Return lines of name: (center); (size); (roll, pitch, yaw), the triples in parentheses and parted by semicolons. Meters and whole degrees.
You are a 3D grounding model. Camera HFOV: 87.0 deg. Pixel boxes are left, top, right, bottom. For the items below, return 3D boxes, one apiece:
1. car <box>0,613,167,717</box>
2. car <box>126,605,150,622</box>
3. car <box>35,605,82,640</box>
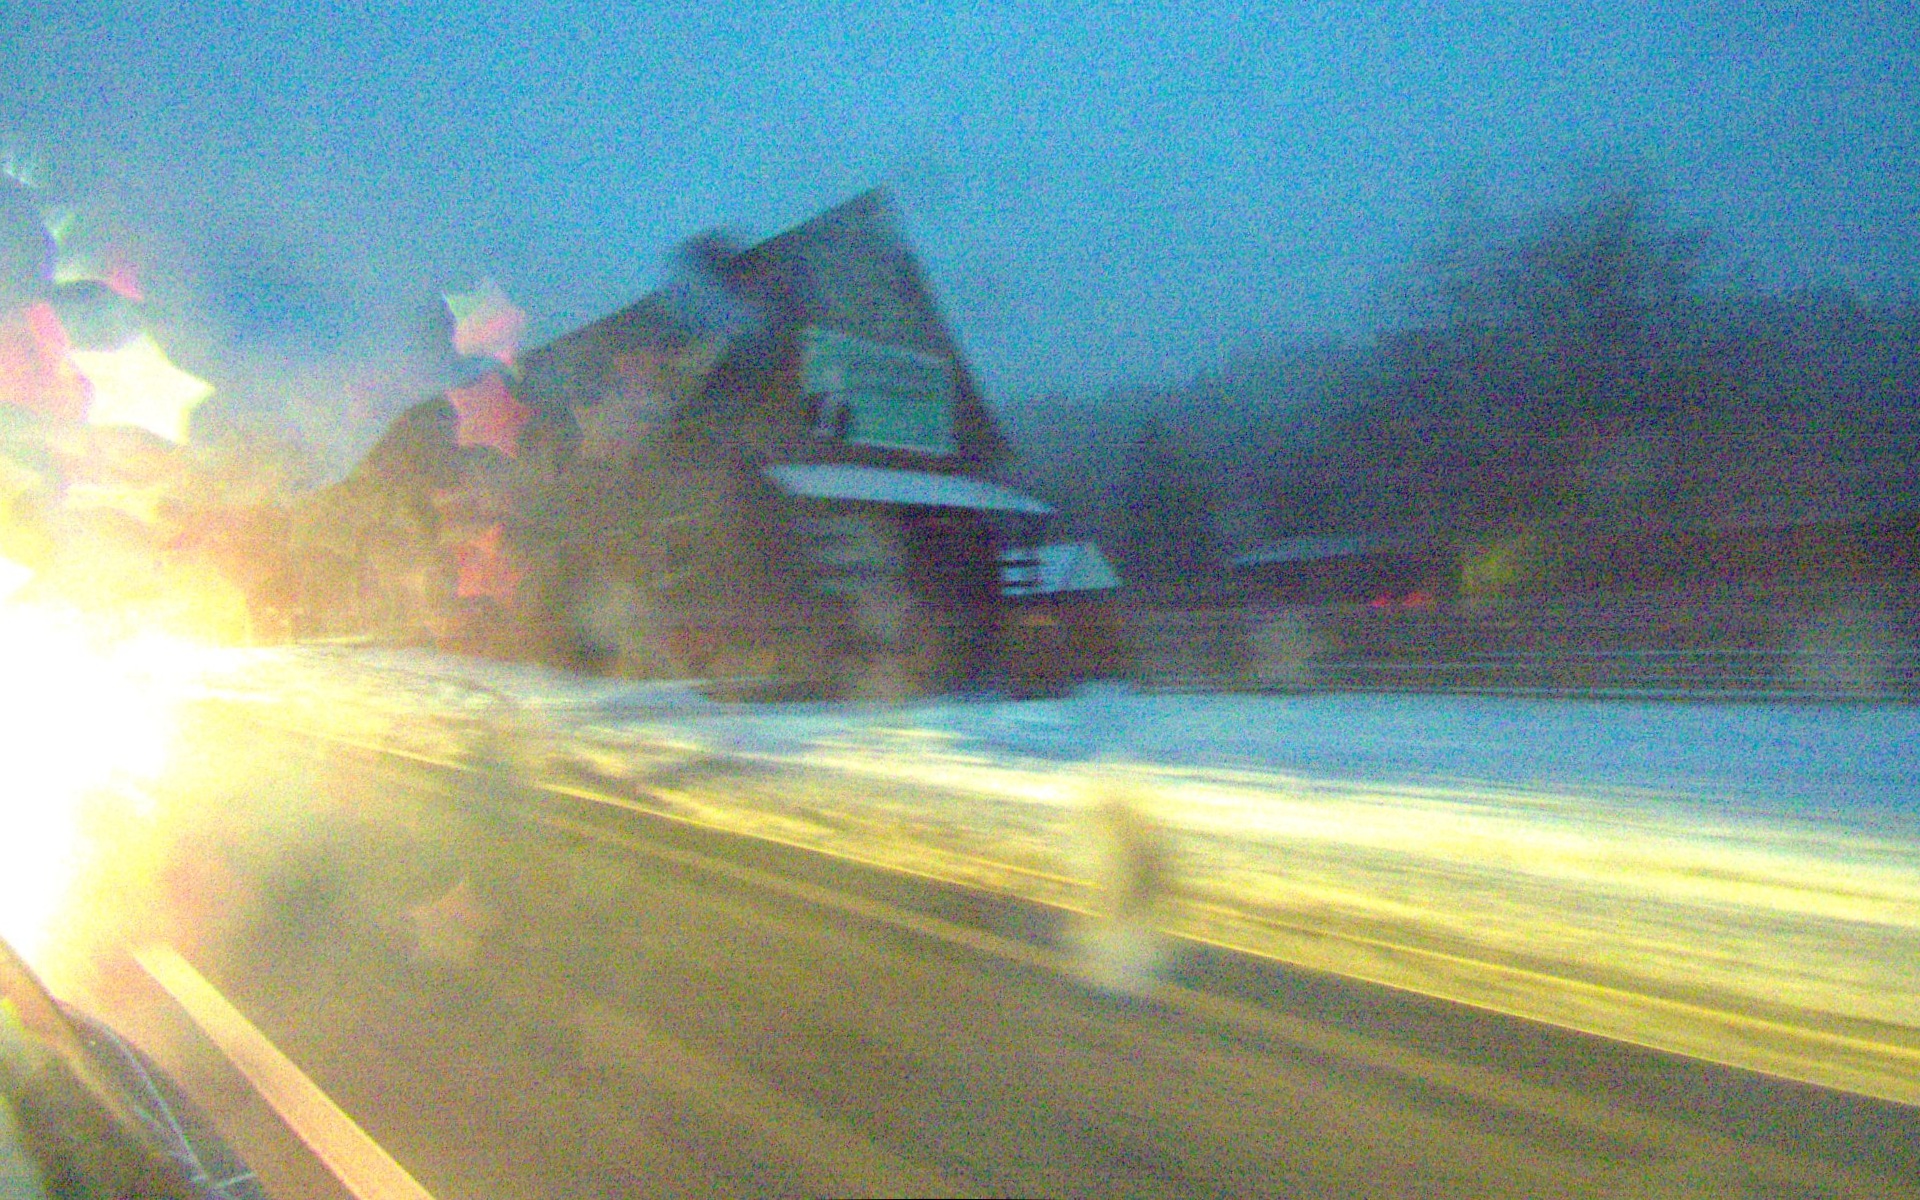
car: (-15.435, 1.005, 17.471); (4.898, 1.471, 1.972); (-1, 1, 43)
car: (-96.913, 1.574, 119.408); (1.951, 1.791, 4.009); (-3, 2, -36)
car: (-57.206, 1.370, 64.286); (1.894, 2.072, 4.897); (-3, 2, -39)
